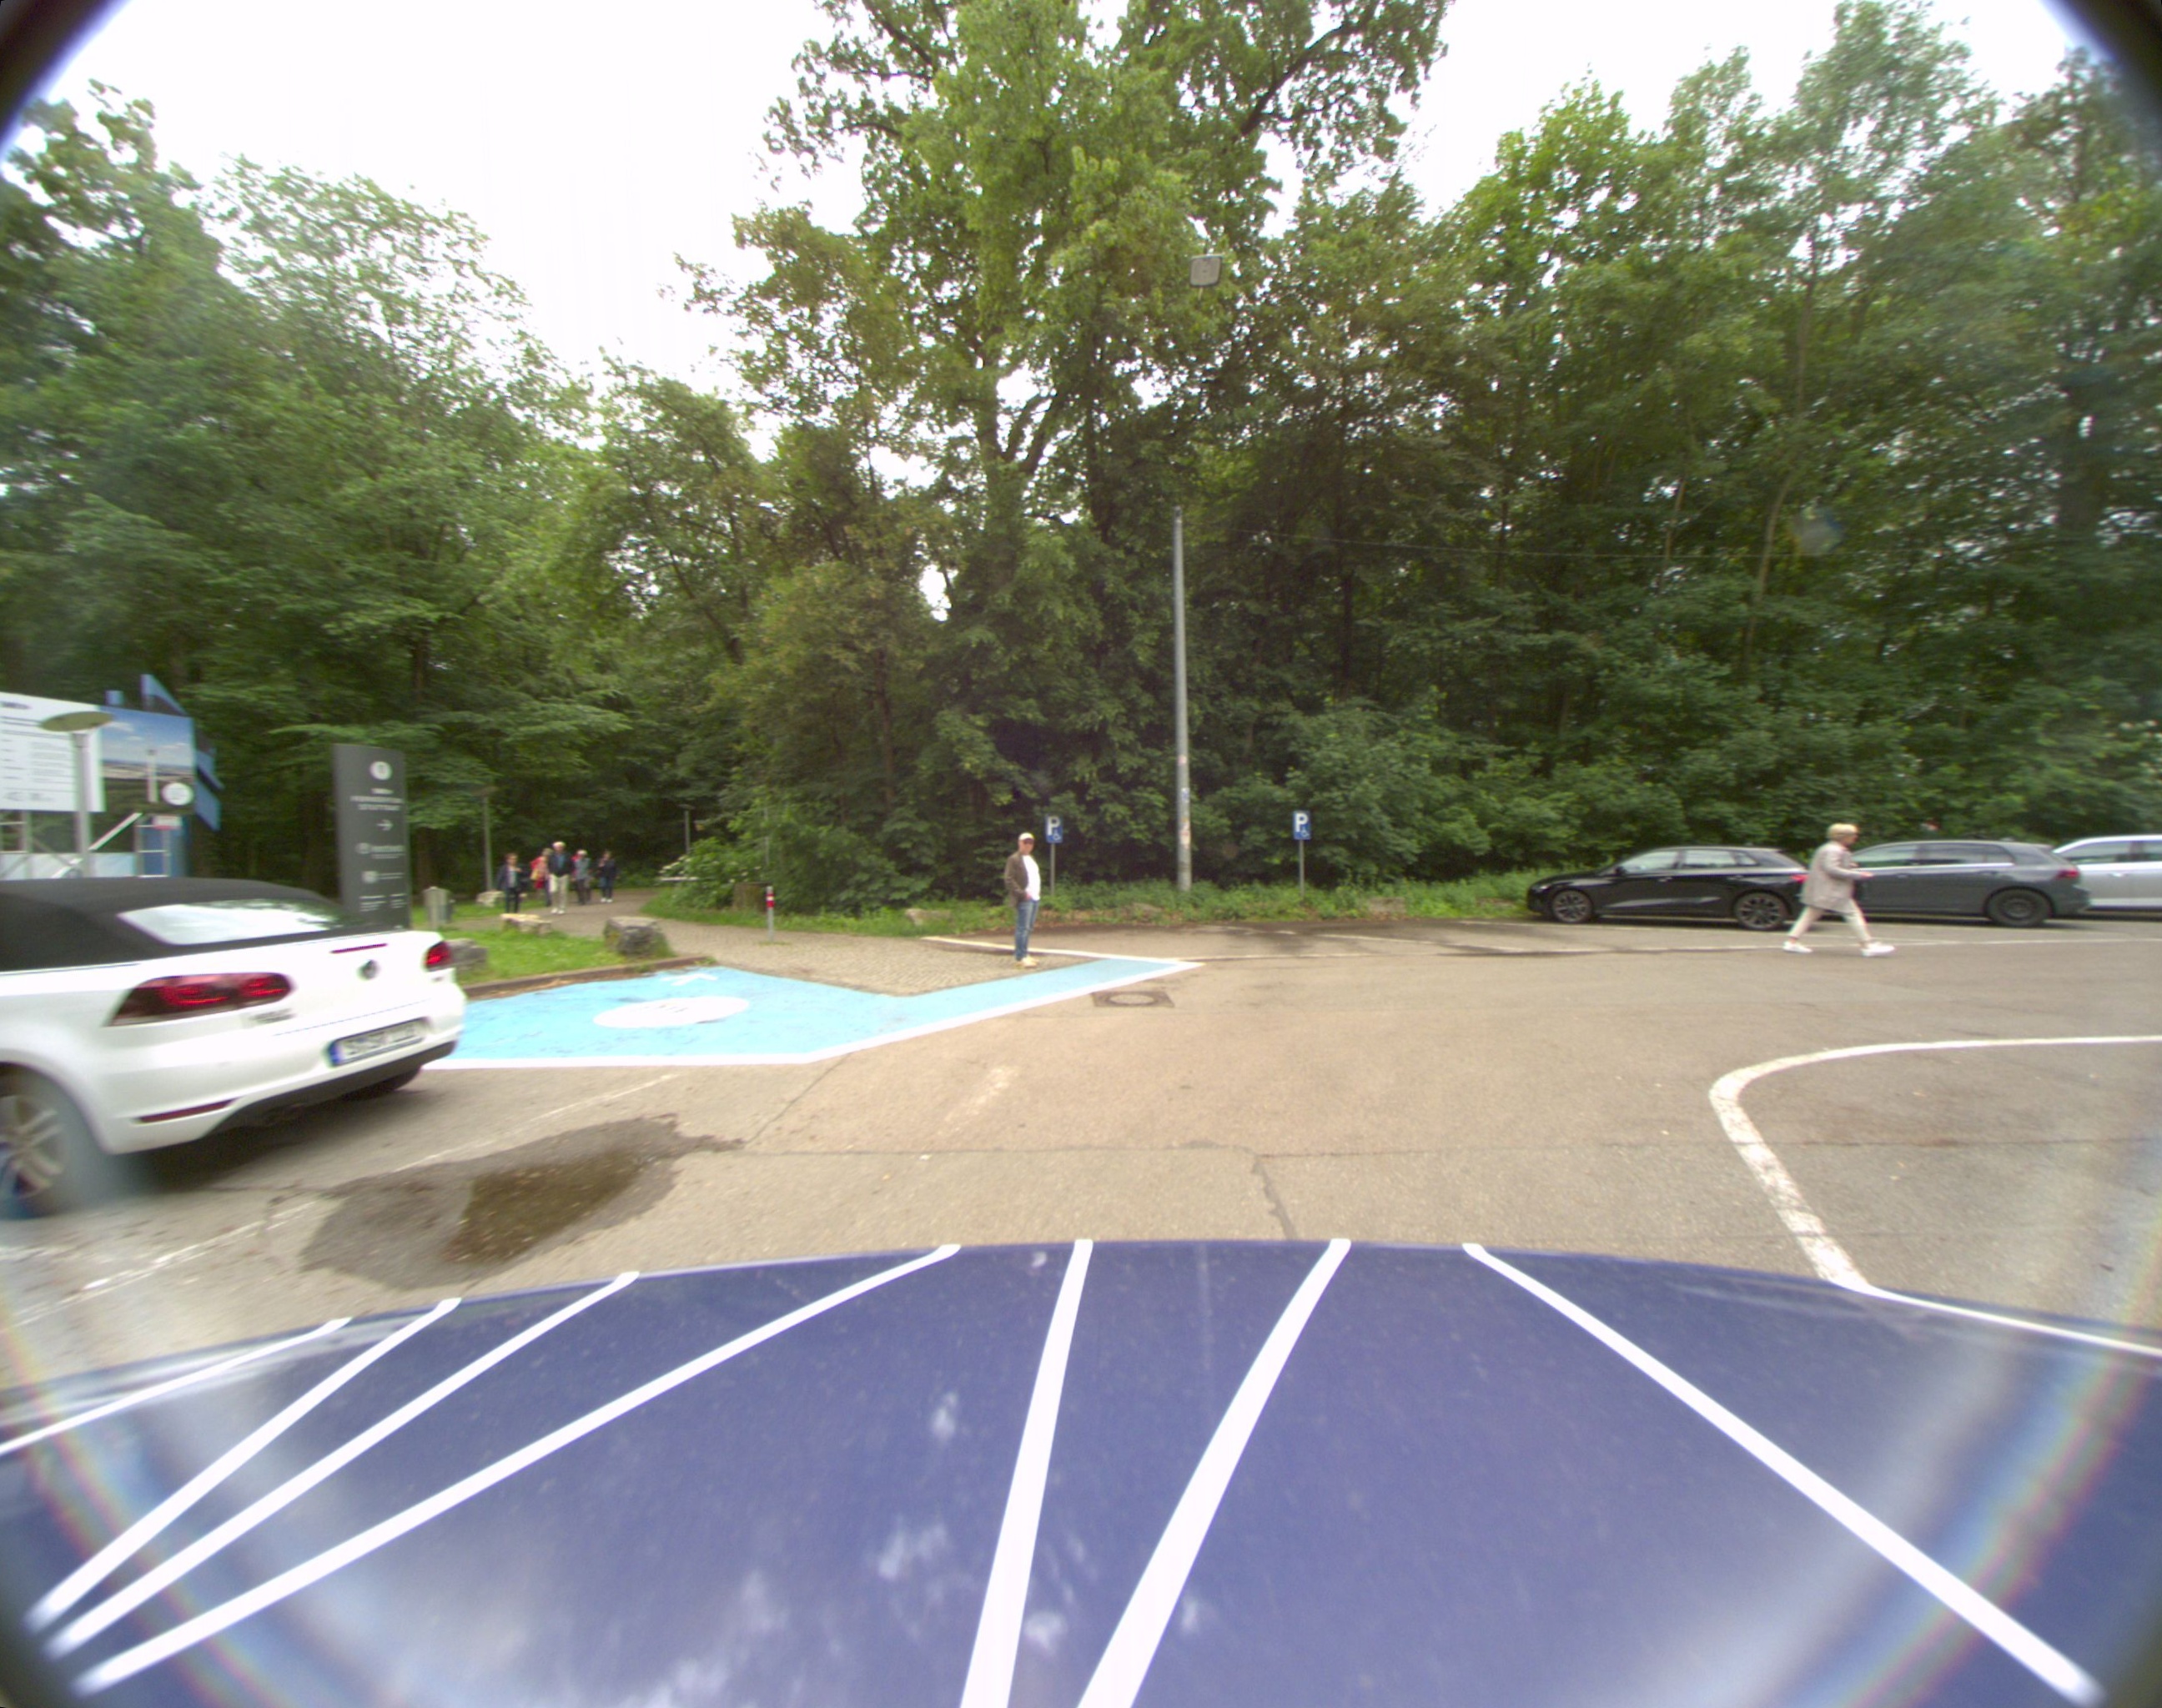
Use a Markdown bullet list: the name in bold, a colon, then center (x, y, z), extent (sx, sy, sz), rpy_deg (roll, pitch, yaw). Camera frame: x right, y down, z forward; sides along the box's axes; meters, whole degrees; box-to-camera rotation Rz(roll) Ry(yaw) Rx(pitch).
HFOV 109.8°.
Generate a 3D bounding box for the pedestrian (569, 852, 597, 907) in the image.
- **pedestrian**: center (-15.592, 0.788, 23.792), extent (0.610, 1.664, 0.603), rpy_deg (-2, 2, -41)

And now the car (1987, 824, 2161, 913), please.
- **car**: center (20.736, 0.239, 14.510), extent (4.250, 1.627, 1.969), rpy_deg (0, 1, 45)

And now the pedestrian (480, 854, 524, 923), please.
- **pedestrian**: center (-14.133, 0.828, 18.580), extent (0.780, 1.625, 0.635), rpy_deg (-2, 2, -35)

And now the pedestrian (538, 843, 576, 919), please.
- **pedestrian**: center (-13.605, 0.675, 19.724), extent (0.736, 1.905, 0.666), rpy_deg (-2, 2, -35)

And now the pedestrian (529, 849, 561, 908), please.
- **pedestrian**: center (-16.358, 0.728, 23.183), extent (0.685, 1.752, 0.603), rpy_deg (-2, 2, -41)

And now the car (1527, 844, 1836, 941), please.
- **car**: center (10.724, 0.597, 13.775), extent (1.903, 1.454, 4.193), rpy_deg (-2, 1, -45)

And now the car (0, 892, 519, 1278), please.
- **car**: center (-5.681, 1.004, 3.994), extent (3.997, 1.420, 1.899), rpy_deg (-1, 1, 0)

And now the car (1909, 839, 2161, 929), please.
- **car**: center (17.929, 0.478, 13.698), extent (1.839, 1.458, 3.988), rpy_deg (-2, 1, -41)

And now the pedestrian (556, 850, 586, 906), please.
- **pedestrian**: center (-16.560, 0.759, 24.687), extent (0.683, 1.758, 0.711), rpy_deg (-2, 2, -41)

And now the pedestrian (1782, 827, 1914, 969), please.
- **pedestrian**: center (9.683, 0.528, 9.630), extent (0.896, 1.715, 0.764), rpy_deg (-1, 1, 1)

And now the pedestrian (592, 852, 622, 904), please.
- **pedestrian**: center (-15.649, 0.770, 25.090), extent (0.683, 1.664, 0.660), rpy_deg (-2, 2, -41)

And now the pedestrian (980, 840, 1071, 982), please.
- **pedestrian**: center (-0.695, 0.684, 9.648), extent (0.895, 1.715, 0.765), rpy_deg (-1, 1, 18)

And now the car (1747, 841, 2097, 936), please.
- **car**: center (14.627, 0.524, 13.587), extent (3.988, 1.414, 1.914), rpy_deg (0, 1, 44)
